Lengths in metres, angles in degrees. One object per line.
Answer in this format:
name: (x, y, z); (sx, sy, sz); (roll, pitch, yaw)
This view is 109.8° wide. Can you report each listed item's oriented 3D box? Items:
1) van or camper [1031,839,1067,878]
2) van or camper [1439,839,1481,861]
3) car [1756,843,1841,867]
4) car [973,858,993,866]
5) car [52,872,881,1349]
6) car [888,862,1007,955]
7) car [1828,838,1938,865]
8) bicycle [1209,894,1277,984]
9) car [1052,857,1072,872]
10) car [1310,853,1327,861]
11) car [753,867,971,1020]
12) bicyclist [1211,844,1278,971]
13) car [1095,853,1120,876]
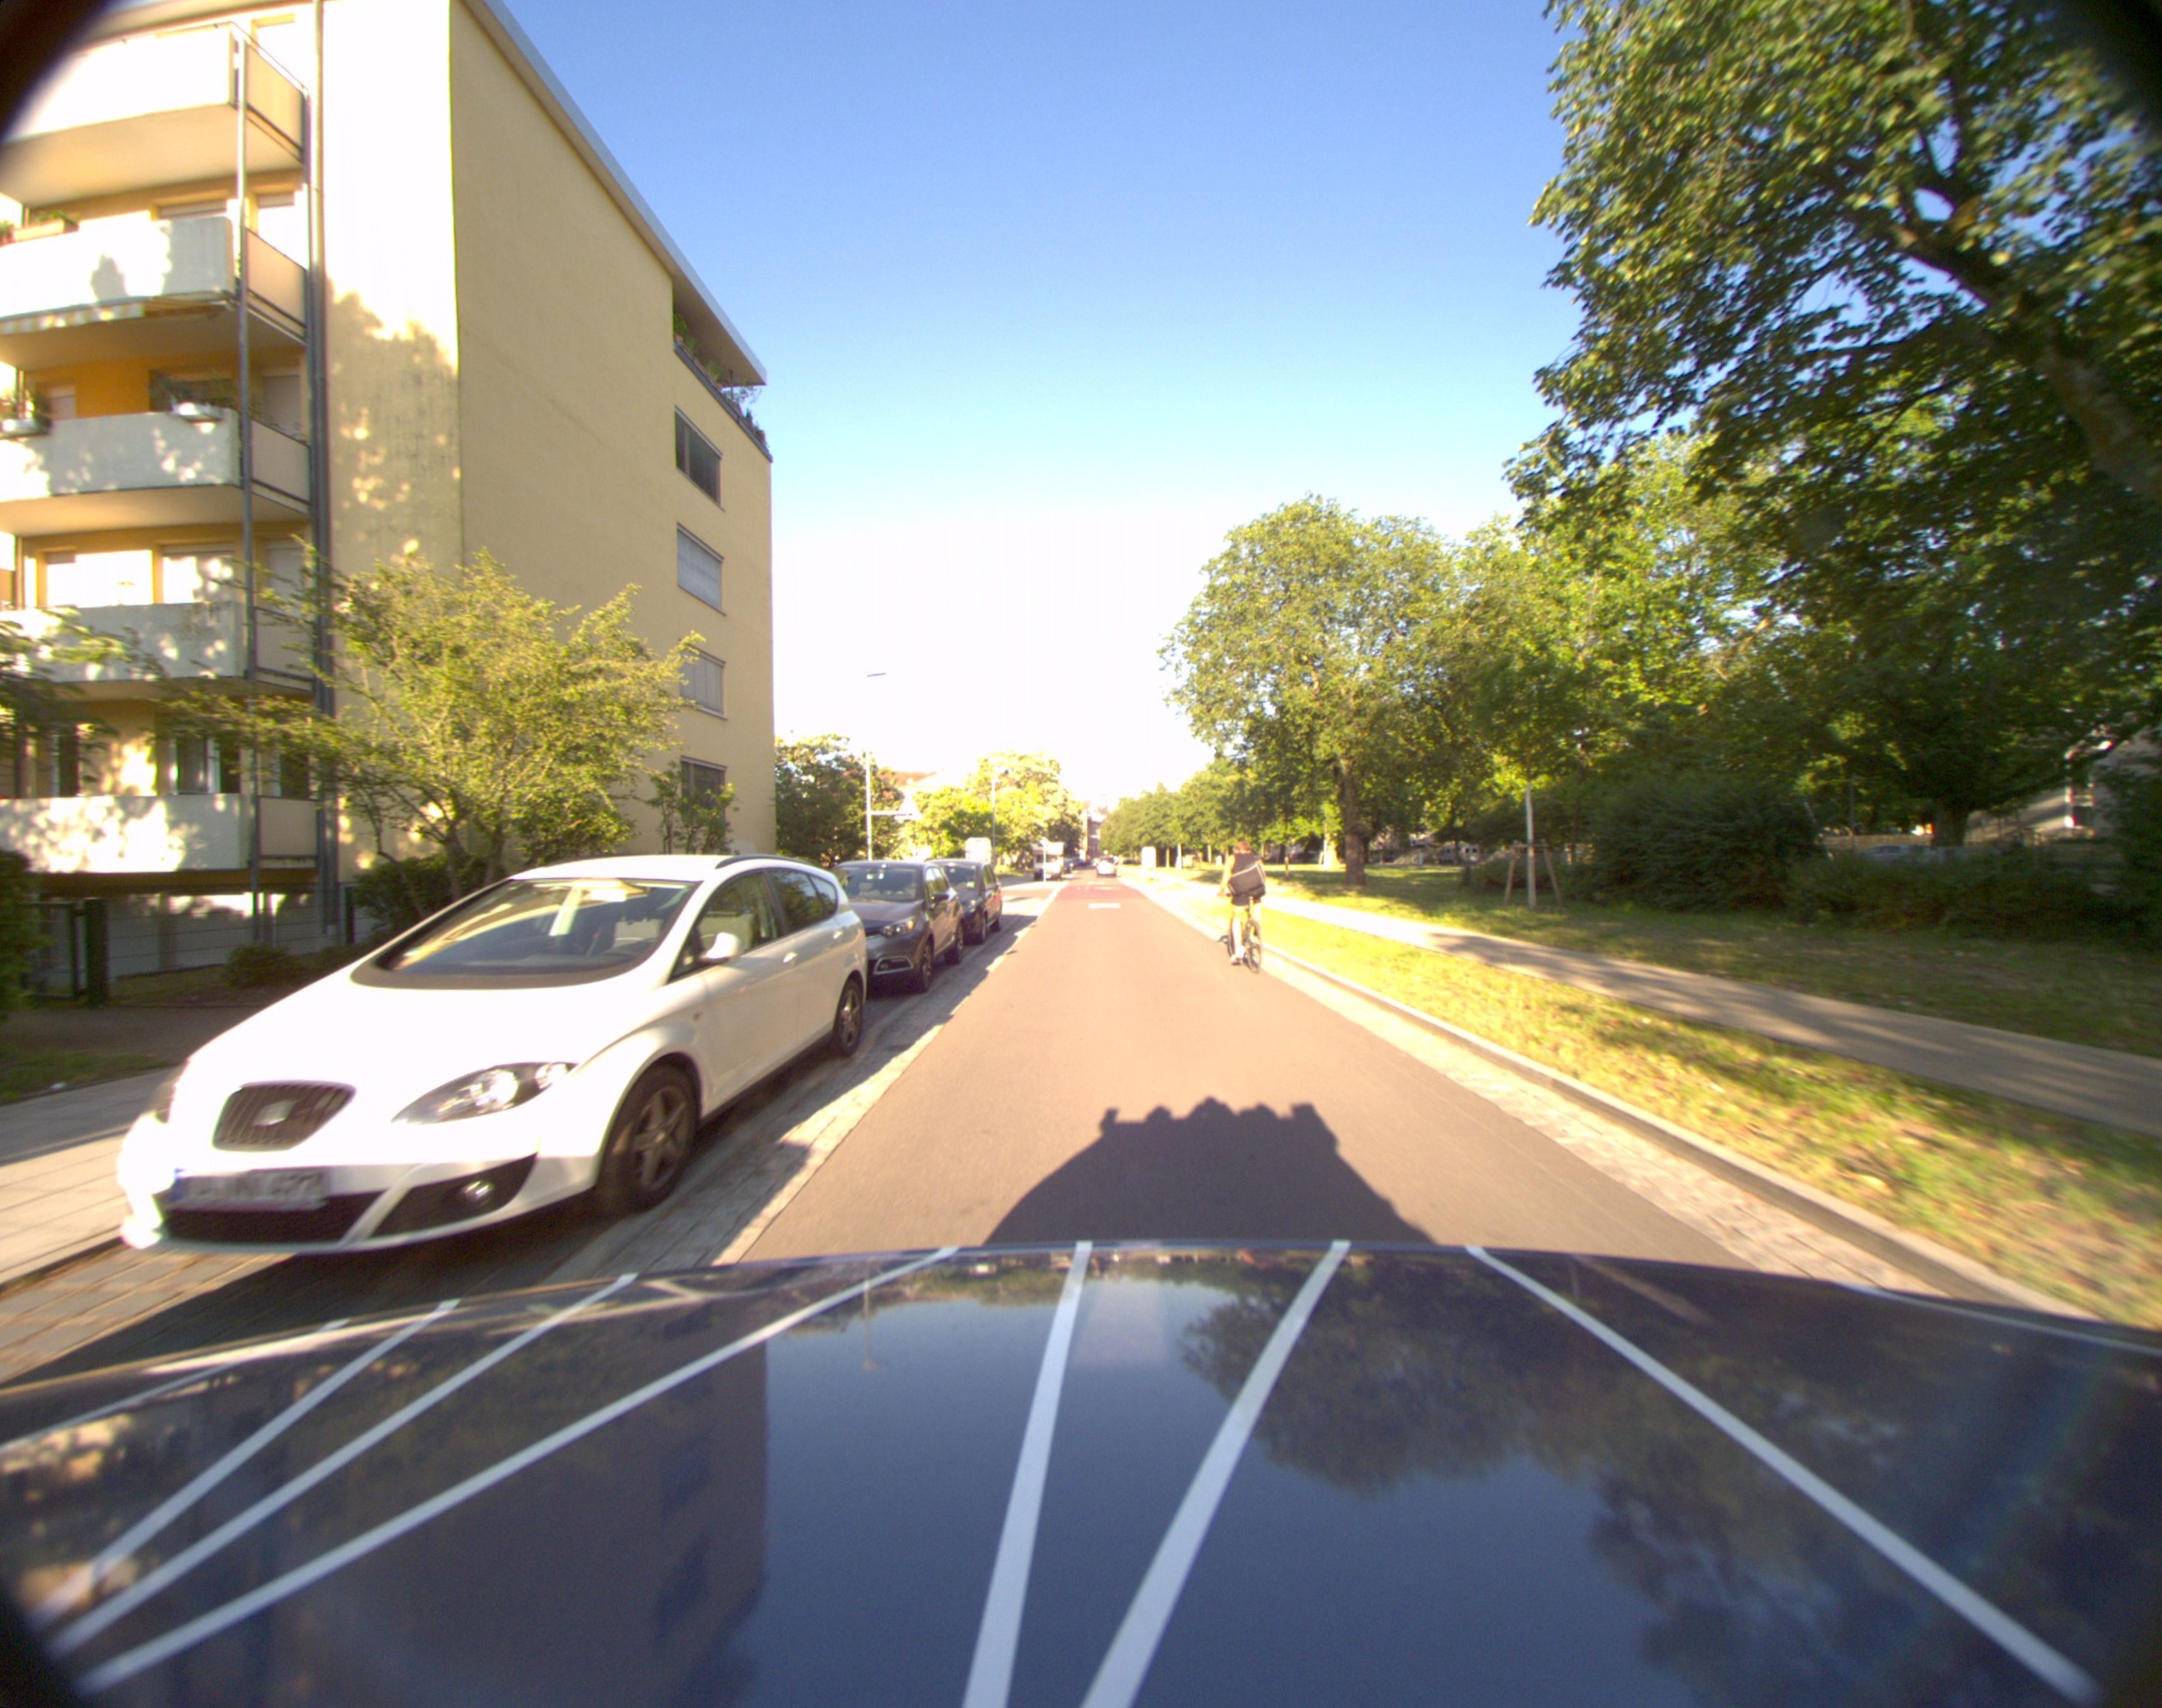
van or camper: (-2.328, 0.330, 57.069); (2.427, 2.766, 5.952); (1, 0, -1)
van or camper: (43.520, -0.466, 87.417); (1.999, 2.425, 5.466); (0, 0, -1)
car: (42.965, 0.078, 45.616); (1.526, 1.359, 3.793); (-2, 0, 0)
car: (-20.180, 1.580, 156.537); (3.707, 1.490, 1.724); (-2, 0, -18)
car: (-2.680, 0.934, 4.696); (1.683, 1.546, 4.130); (0, 0, 2)
car: (-2.566, 0.992, 15.518); (1.714, 1.601, 4.168); (1, 0, -1)
car: (42.730, -0.117, 40.616); (1.526, 1.359, 4.108); (-2, 0, 0)
bicycle: (2.236, 1.141, 10.686); (0.558, 1.026, 1.914); (-1, 1, 0)
car: (-1.955, 1.129, 80.891); (1.998, 1.501, 4.000); (-2, 0, 0)
car: (43.996, 0.529, 140.874); (1.796, 1.455, 4.000); (-2, 0, 0)
car: (-2.602, 0.974, 10.074); (1.683, 1.546, 4.144); (0, 0, 0)
bicyclist: (2.260, 0.698, 10.592); (0.683, 1.663, 1.172); (0, 1, 0)
car: (2.279, 0.875, 66.159); (1.849, 1.837, 4.572); (0, 0, -2)
